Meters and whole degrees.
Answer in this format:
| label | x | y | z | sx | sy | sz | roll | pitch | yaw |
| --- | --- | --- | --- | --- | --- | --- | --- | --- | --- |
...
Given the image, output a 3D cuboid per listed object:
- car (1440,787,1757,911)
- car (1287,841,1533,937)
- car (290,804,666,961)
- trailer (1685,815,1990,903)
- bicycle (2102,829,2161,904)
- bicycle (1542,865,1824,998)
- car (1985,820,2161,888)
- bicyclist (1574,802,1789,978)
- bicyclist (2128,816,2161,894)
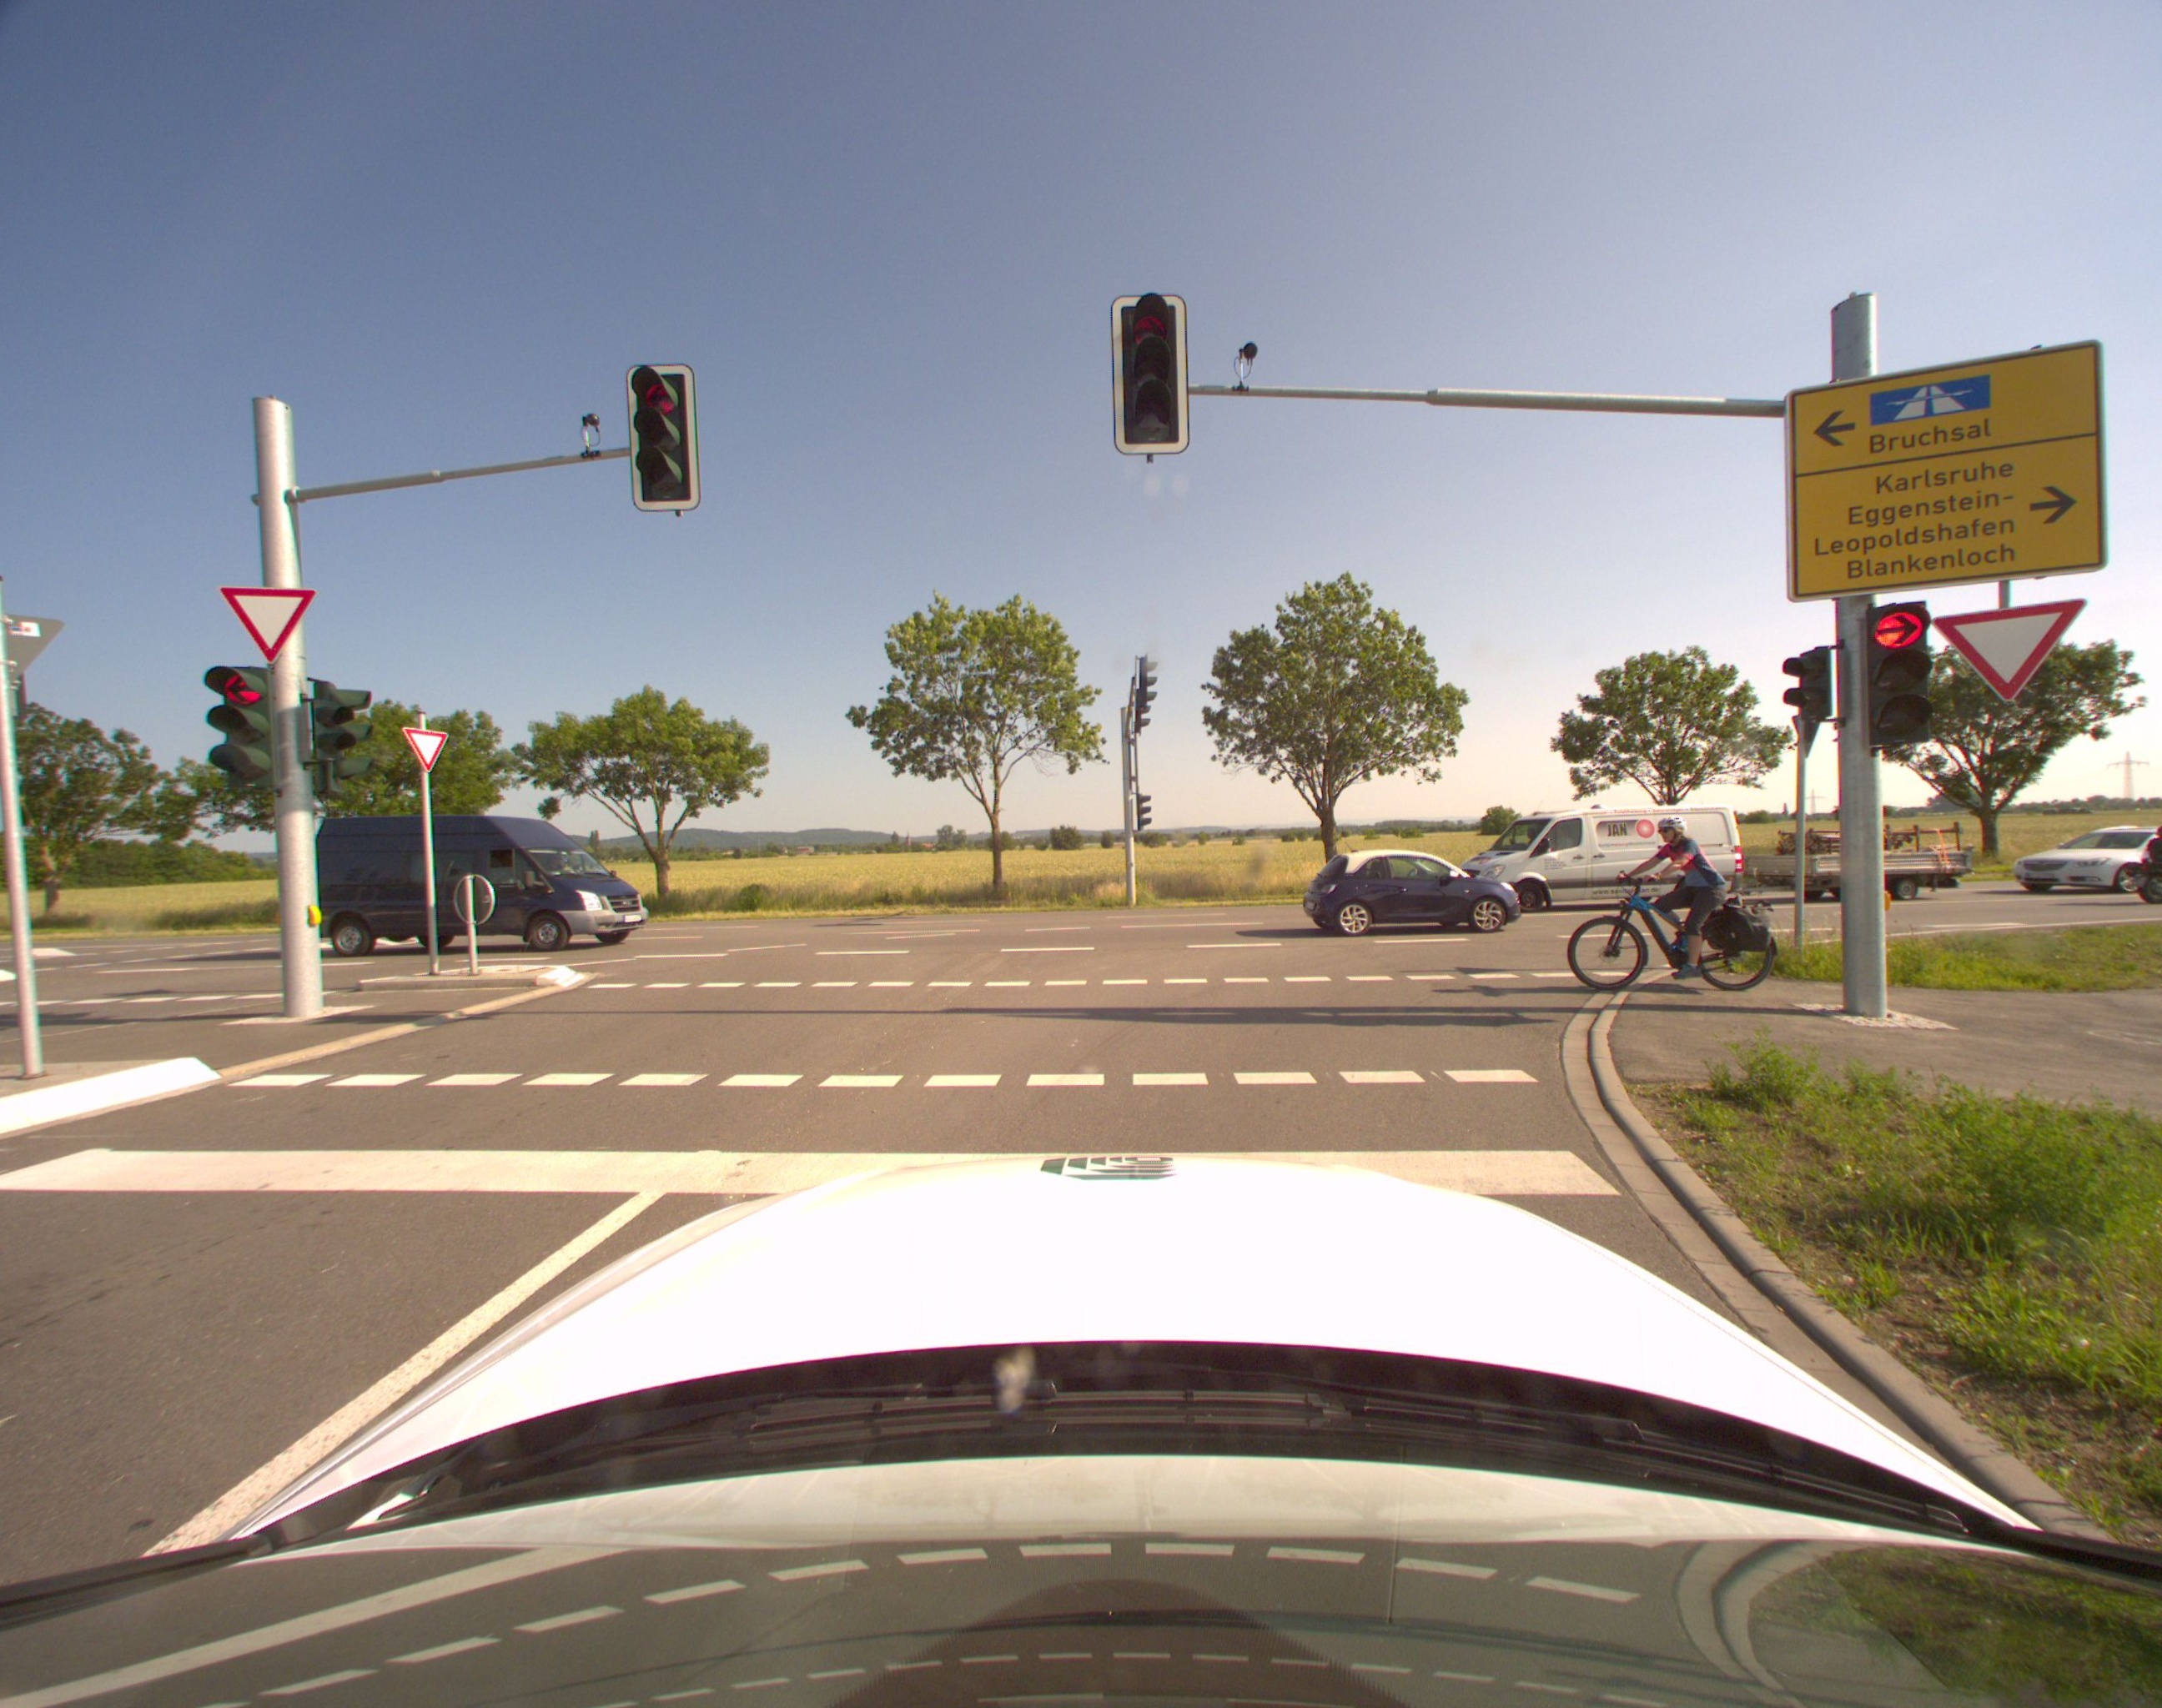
| label | x | y | z | sx | sy | sz | roll | pitch | yaw |
| --- | --- | --- | --- | --- | --- | --- | --- | --- | --- |
| car | 11.678 | -0.101 | 18.680 | 5.939 | 2.493 | 1.999 | -2 | -1 | -1 |
| car | 5.795 | 0.586 | 14.660 | 3.715 | 1.457 | 1.729 | -3 | 1 | 0 |
| car | -11.306 | 0.516 | 15.530 | 5.706 | 2.622 | 2.036 | -2 | 0 | 4 |
| trailer | 17.291 | 0.104 | 18.798 | 5.244 | 1.753 | 1.953 | -2 | 0 | -1 |
| bicycle | 21.395 | 0.193 | 15.765 | 2.486 | 1.397 | 0.731 | -2 | -1 | -4 |
| bicycle | 5.894 | 0.723 | 8.068 | 2.150 | 1.186 | 0.889 | -1 | -1 | -2 |
| car | 24.696 | -0.001 | 19.175 | 4.858 | 1.510 | 1.997 | 0 | -1 | -4 |
| bicyclist | 5.904 | 0.318 | 8.100 | 1.276 | 1.601 | 1.164 | -1 | 1 | -3 |
| bicyclist | 21.125 | 0.016 | 15.730 | 0.806 | 1.489 | 0.756 | 0 | -1 | -3 |
